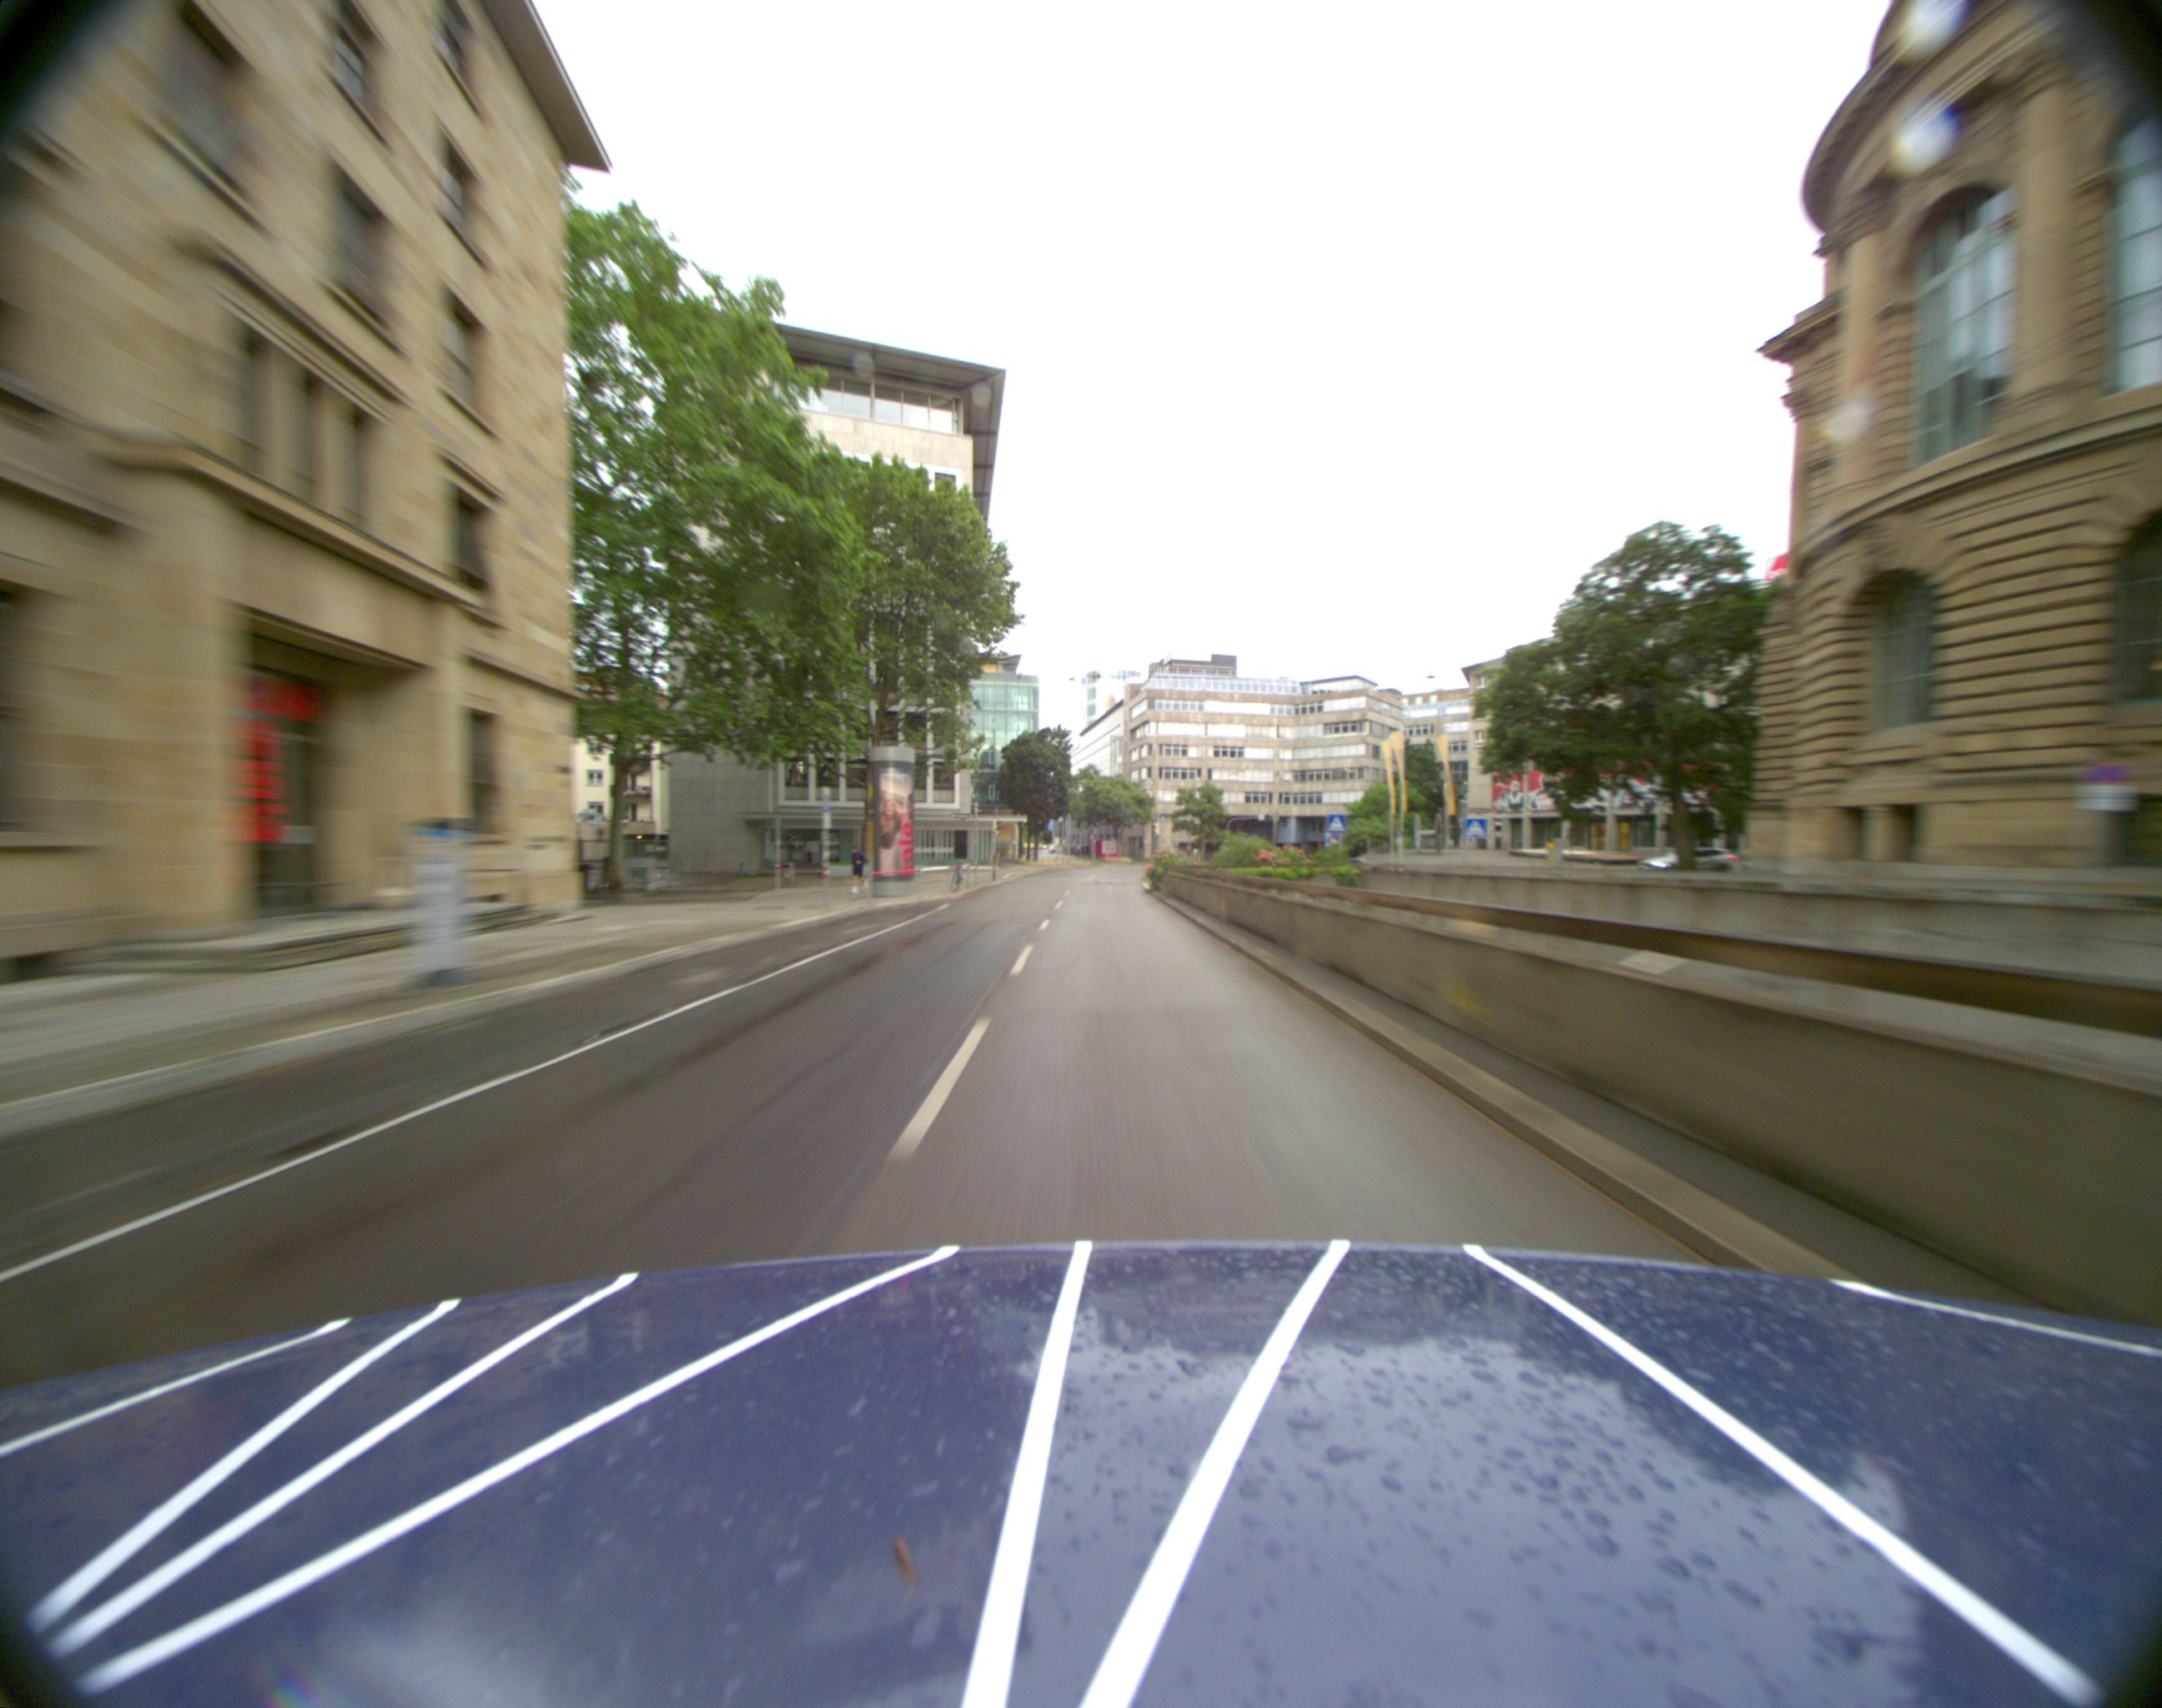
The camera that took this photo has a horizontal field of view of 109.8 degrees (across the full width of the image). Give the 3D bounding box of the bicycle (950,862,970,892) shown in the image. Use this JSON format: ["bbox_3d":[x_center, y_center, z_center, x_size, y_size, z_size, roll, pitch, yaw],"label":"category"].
[{"bbox_3d":[-4.361,0.814,27.547,0.490,1.006,1.927,0,1,-2],"label":"bicycle"}]

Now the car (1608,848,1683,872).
[{"bbox_3d":[38.279,0.393,51.521,4.216,1.547,1.997,0,1,-17],"label":"car"}]

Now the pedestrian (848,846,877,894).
[{"bbox_3d":[-8.074,0.570,28.102,0.781,1.761,0.863,0,1,6],"label":"pedestrian"}]

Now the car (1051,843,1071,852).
[{"bbox_3d":[-4.110,-1.302,155.666,3.776,1.641,1.795,2,0,-23],"label":"car"}]

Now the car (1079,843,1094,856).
[{"bbox_3d":[0.894,-0.756,121.413,1.999,2.068,3.998,-1,1,-4],"label":"car"}]
